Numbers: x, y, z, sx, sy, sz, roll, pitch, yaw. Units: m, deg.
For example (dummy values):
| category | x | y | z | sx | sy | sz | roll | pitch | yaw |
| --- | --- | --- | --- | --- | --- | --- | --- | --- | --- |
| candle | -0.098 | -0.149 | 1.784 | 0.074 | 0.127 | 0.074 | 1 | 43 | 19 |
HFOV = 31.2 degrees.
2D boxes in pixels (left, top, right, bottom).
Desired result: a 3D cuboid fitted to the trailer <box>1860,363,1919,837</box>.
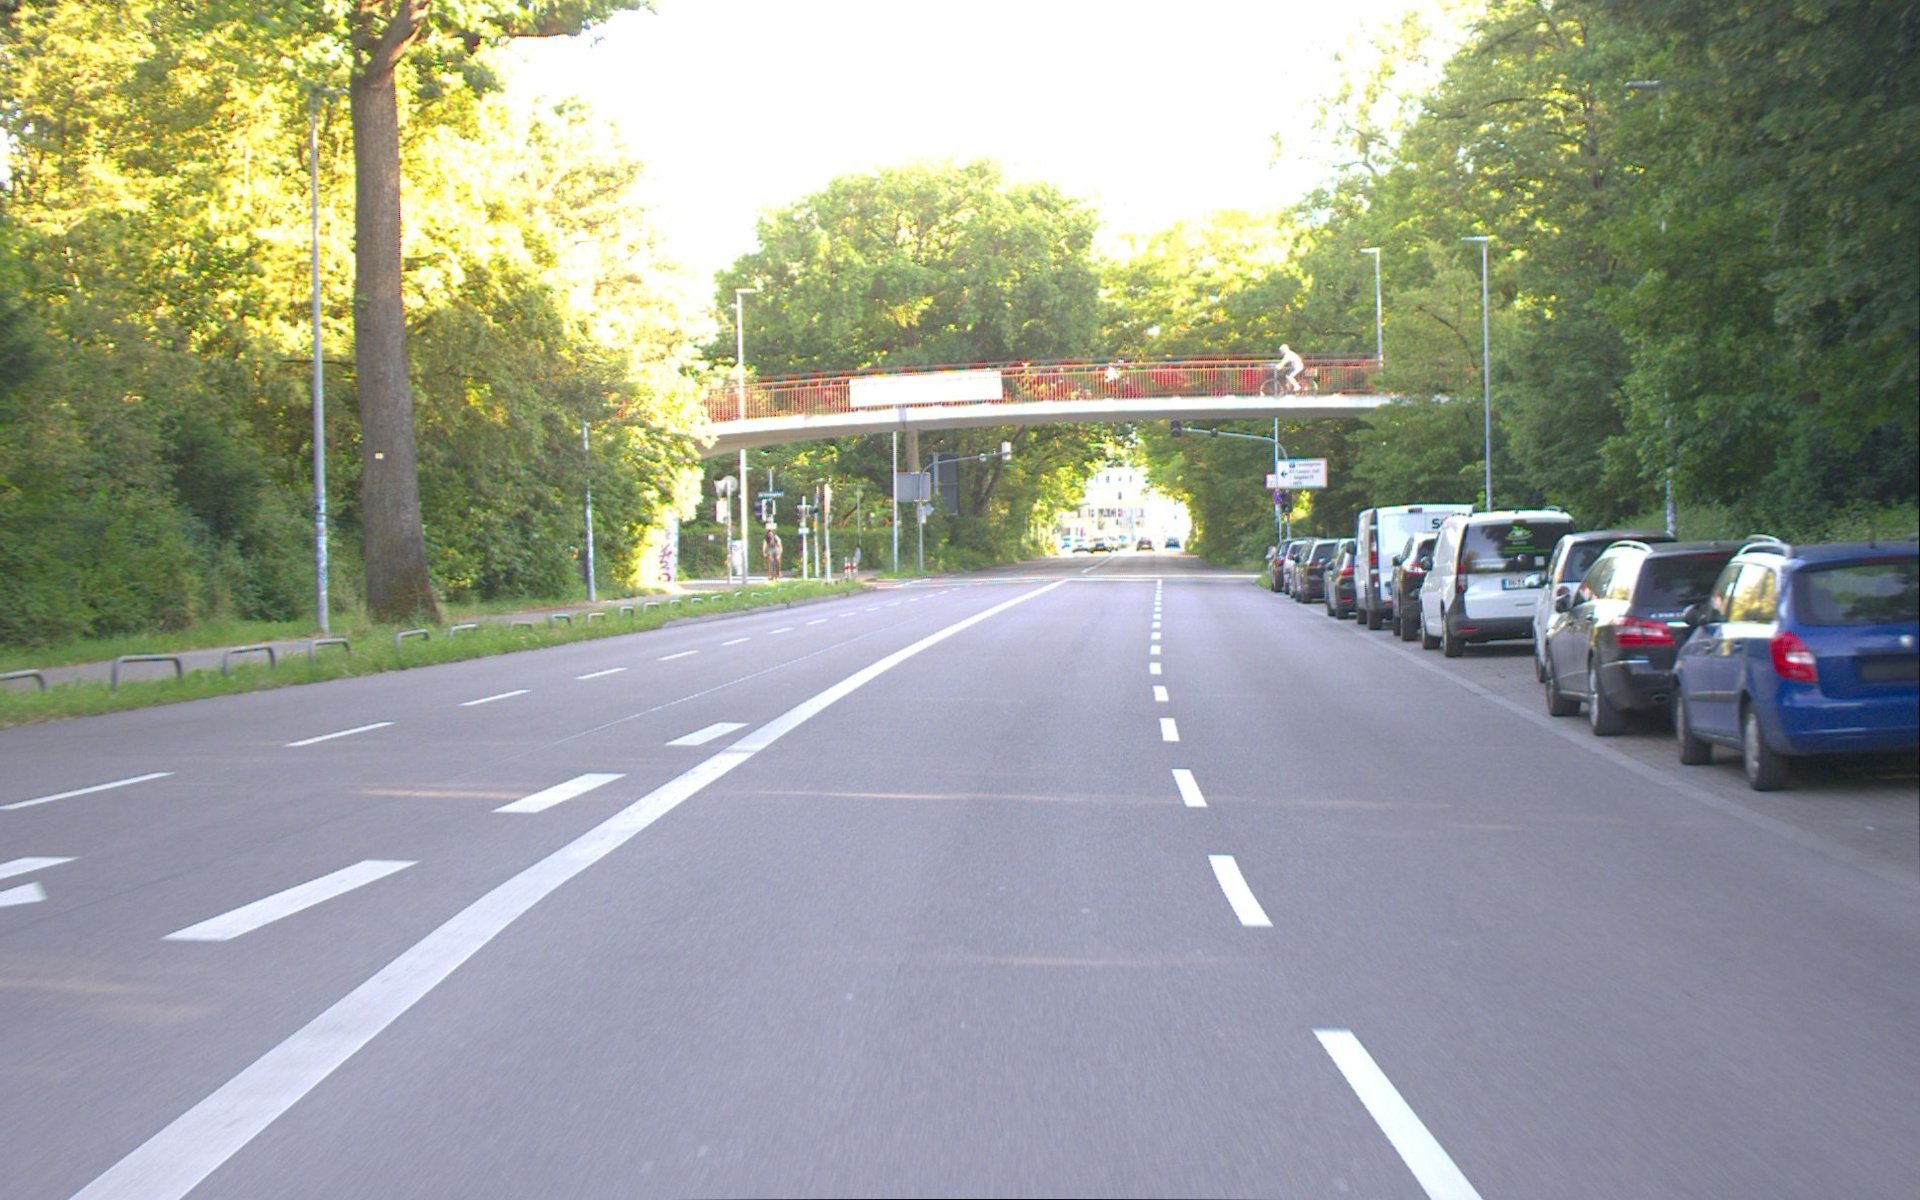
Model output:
| category | x | y | z | sx | sy | sz | roll | pitch | yaw |
| --- | --- | --- | --- | --- | --- | --- | --- | --- | --- |
| trailer | 5.805 | 0.003 | 16.102 | 1.904 | 2.415 | 5.126 | -1 | 1 | 1 |

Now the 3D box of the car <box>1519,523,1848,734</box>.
| category | x | y | z | sx | sy | sz | roll | pitch | yaw |
| --- | --- | --- | --- | --- | --- | --- | --- | --- | --- |
| car | 5.790 | 0.177 | 28.070 | 1.759 | 1.530 | 4.989 | -1 | 1 | 2 |

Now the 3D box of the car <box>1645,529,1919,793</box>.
| category | x | y | z | sx | sy | sz | roll | pitch | yaw |
| --- | --- | --- | --- | --- | --- | --- | --- | --- | --- |
| car | 5.666 | 0.318 | 22.301 | 1.677 | 1.530 | 4.353 | -1 | 1 | 2 |

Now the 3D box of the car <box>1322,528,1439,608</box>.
| category | x | y | z | sx | sy | sz | roll | pitch | yaw |
| --- | --- | --- | --- | --- | --- | --- | --- | --- | --- |
| car | 7.762 | -0.602 | 63.783 | 1.869 | 1.401 | 4.368 | -1 | 1 | 4 |

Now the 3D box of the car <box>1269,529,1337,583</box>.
| category | x | y | z | sx | sy | sz | roll | pitch | yaw |
| --- | --- | --- | --- | --- | --- | --- | --- | --- | --- |
| car | 9.678 | -1.259 | 97.244 | 1.774 | 1.449 | 4.387 | -1 | 1 | 4 |

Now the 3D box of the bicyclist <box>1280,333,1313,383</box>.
| category | x | y | z | sx | sy | sz | roll | pitch | yaw |
| --- | --- | --- | --- | --- | --- | --- | --- | --- | --- |
| bicyclist | 10.930 | -7.857 | 111.692 | 0.970 | 1.580 | 0.714 | 1 | 0 | 2 |

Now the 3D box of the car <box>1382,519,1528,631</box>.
| category | x | y | z | sx | sy | sz | roll | pitch | yaw |
| --- | --- | --- | --- | --- | --- | --- | --- | --- | --- |
| car | 7.277 | -0.385 | 50.873 | 1.759 | 1.542 | 4.428 | -1 | 1 | 4 |

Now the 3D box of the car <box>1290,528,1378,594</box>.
| category | x | y | z | sx | sy | sz | roll | pitch | yaw |
| --- | --- | --- | --- | --- | --- | --- | --- | --- | --- |
| car | 8.663 | -0.912 | 79.942 | 1.637 | 1.449 | 4.898 | -1 | 1 | 2 |

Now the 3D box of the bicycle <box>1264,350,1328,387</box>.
| category | x | y | z | sx | sy | sz | roll | pitch | yaw |
| --- | --- | --- | --- | --- | --- | --- | --- | --- | --- |
| bicycle | 10.912 | -7.525 | 111.693 | 1.987 | 1.143 | 0.714 | 1 | 0 | 2 |

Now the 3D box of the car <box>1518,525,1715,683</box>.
| category | x | y | z | sx | sy | sz | roll | pitch | yaw |
| --- | --- | --- | --- | --- | --- | --- | --- | --- | --- |
| car | 6.580 | 0.014 | 34.717 | 1.586 | 1.490 | 3.180 | -1 | 1 | 5 |

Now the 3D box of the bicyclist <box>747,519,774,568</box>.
| category | x | y | z | sx | sy | sz | roll | pitch | yaw |
| --- | --- | --- | --- | --- | --- | --- | --- | --- | --- |
| bicyclist | -6.359 | -1.794 | 109.804 | 0.712 | 1.553 | 1.142 | 1 | 0 | 3 |

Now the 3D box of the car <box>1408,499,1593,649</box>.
| category | x | y | z | sx | sy | sz | roll | pitch | yaw |
| --- | --- | --- | --- | --- | --- | --- | --- | --- | --- |
| car | 6.945 | -0.356 | 44.554 | 1.759 | 1.798 | 4.737 | -1 | 1 | 2 |

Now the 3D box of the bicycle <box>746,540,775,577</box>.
| category | x | y | z | sx | sy | sz | roll | pitch | yaw |
| --- | --- | --- | --- | --- | --- | --- | --- | --- | --- |
| bicycle | -6.362 | -1.316 | 109.807 | 0.712 | 1.143 | 1.993 | 1 | 0 | 3 |

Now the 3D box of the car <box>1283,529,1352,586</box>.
| category | x | y | z | sx | sy | sz | roll | pitch | yaw |
| --- | --- | --- | --- | --- | --- | --- | --- | --- | --- |
| car | 9.647 | -1.156 | 92.752 | 1.775 | 1.449 | 4.013 | -1 | 1 | 6 |

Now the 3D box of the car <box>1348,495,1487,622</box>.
| category | x | y | z | sx | sy | sz | roll | pitch | yaw |
| --- | --- | --- | --- | --- | --- | --- | --- | --- | --- |
| car | 7.555 | -0.700 | 57.189 | 1.869 | 1.974 | 5.474 | -1 | 1 | 4 |
